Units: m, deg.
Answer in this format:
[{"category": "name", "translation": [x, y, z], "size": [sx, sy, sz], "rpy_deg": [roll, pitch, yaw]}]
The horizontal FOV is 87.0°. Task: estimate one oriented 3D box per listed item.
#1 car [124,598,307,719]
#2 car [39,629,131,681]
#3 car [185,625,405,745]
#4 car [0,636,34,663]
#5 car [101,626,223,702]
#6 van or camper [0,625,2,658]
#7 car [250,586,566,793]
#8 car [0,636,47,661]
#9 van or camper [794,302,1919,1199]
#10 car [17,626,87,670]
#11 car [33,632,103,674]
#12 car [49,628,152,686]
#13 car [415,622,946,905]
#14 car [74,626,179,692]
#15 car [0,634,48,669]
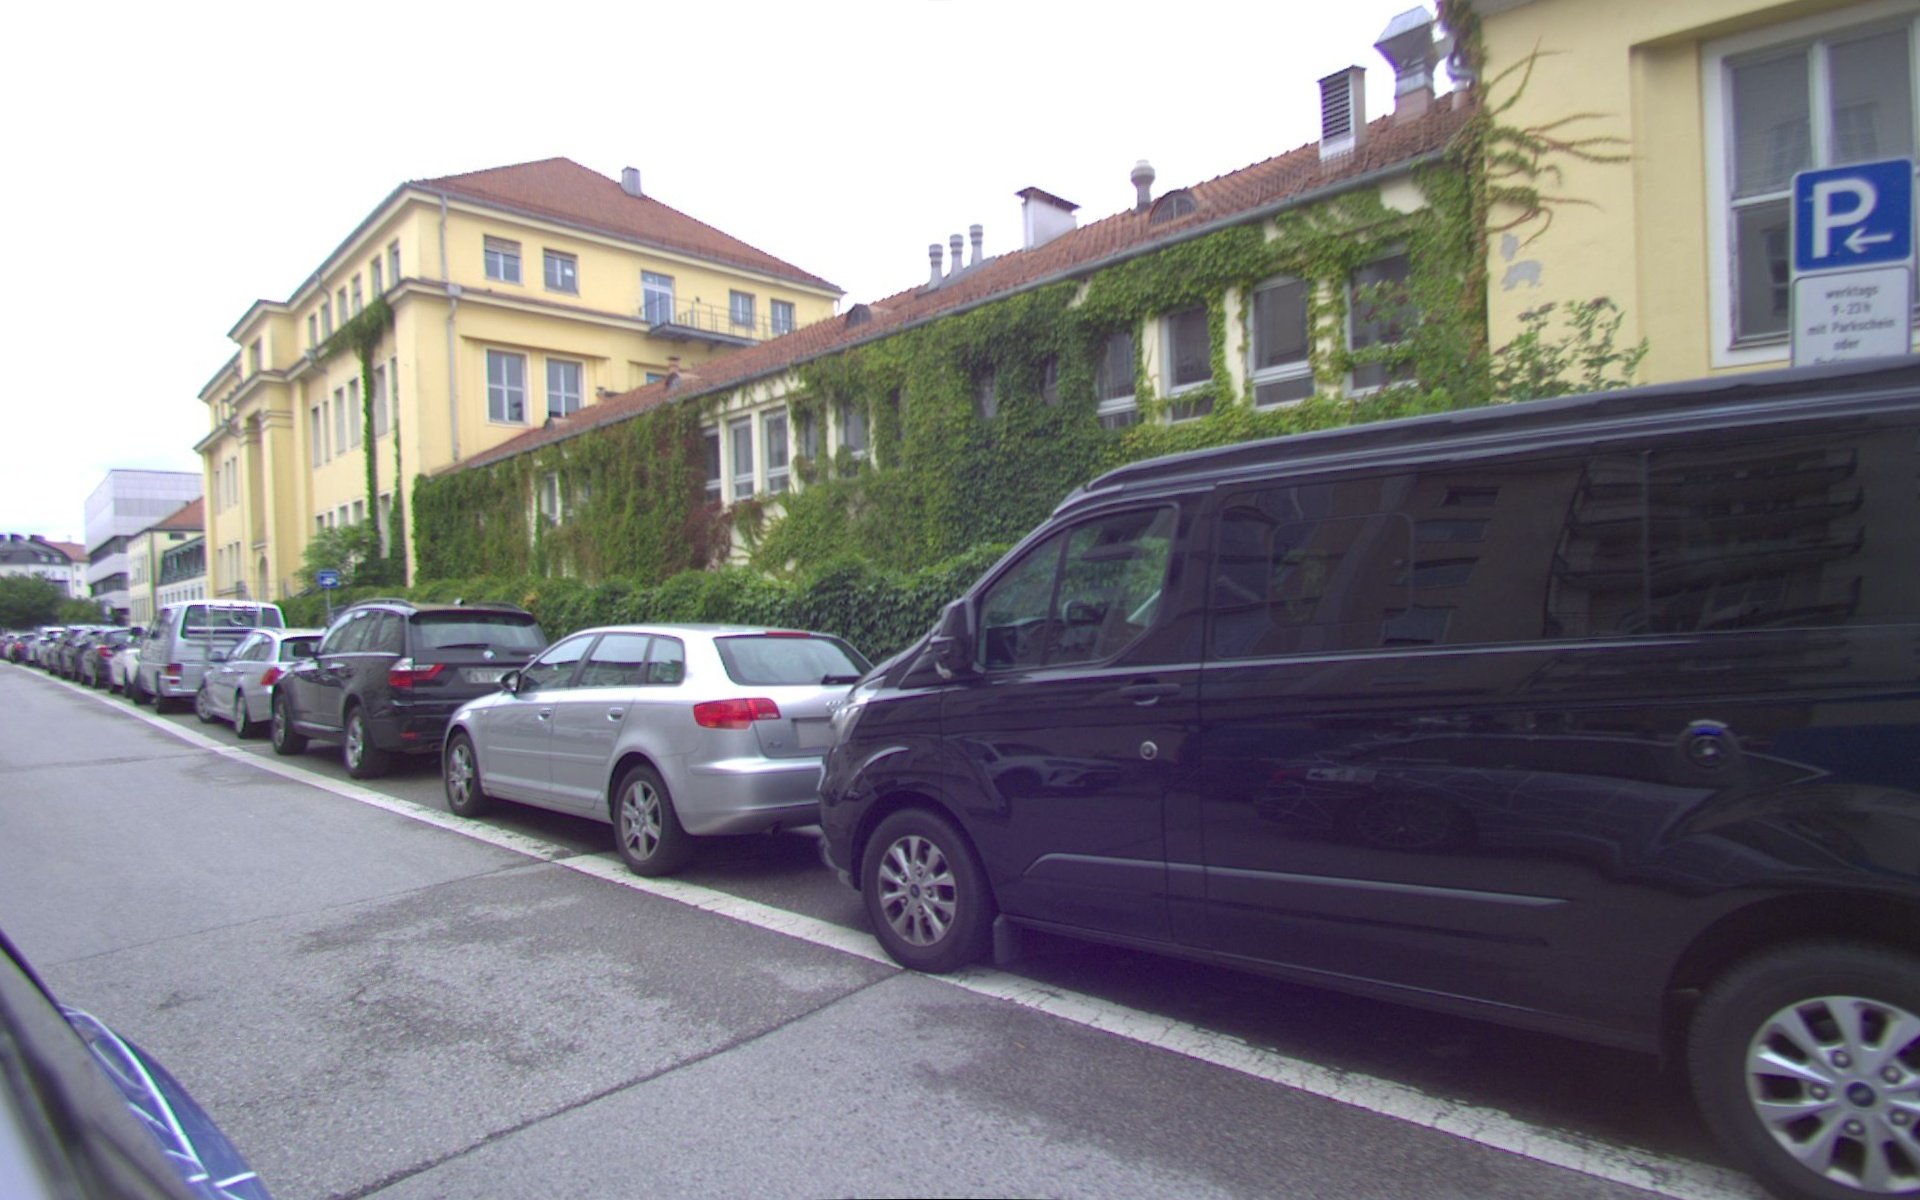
[{"category": "car", "translation": [-13.524, 0.995, 18.266], "size": [1.970, 1.890, 4.761], "rpy_deg": [2, -3, -44]}, {"category": "car", "translation": [-28.409, 1.770, 32.820], "size": [4.195, 1.550, 1.762], "rpy_deg": [-2, -4, 43]}, {"category": "car", "translation": [-9.509, 1.102, 14.312], "size": [4.426, 1.433, 1.682], "rpy_deg": [-2, -4, 45]}, {"category": "car", "translation": [-58.190, 3.044, 62.078], "size": [3.996, 1.578, 1.656], "rpy_deg": [-3, -4, 42]}, {"category": "car", "translation": [-17.387, 1.340, 21.993], "size": [3.731, 1.504, 1.561], "rpy_deg": [-2, -3, 44]}, {"category": "van or camper", "translation": [-84.313, 3.613, 86.955], "size": [5.564, 2.829, 2.115], "rpy_deg": [-2, -2, 37]}, {"category": "car", "translation": [-5.968, 0.841, 10.677], "size": [4.425, 1.743, 1.601], "rpy_deg": [-2, -4, 44]}, {"category": "car", "translation": [-53.839, 2.803, 58.163], "size": [3.996, 1.409, 1.656], "rpy_deg": [-3, -4, 42]}, {"category": "van or camper", "translation": [1.728, 0.448, 3.687], "size": [4.747, 2.081, 1.941], "rpy_deg": [-2, -3, 39]}, {"category": "car", "translation": [-37.951, 1.979, 42.252], "size": [4.355, 1.646, 1.662], "rpy_deg": [-2, 0, 42]}, {"category": "car", "translation": [-33.968, 1.971, 38.492], "size": [3.895, 1.436, 1.661], "rpy_deg": [-1, 1, 44]}, {"category": "car", "translation": [-24.741, 1.599, 29.094], "size": [4.149, 1.550, 1.762], "rpy_deg": [-2, -3, 43]}, {"category": "car", "translation": [-2.125, 0.878, 6.975], "size": [4.071, 1.388, 1.602], "rpy_deg": [-2, -4, 43]}, {"category": "car", "translation": [-20.965, 1.427, 25.404], "size": [3.905, 1.466, 1.561], "rpy_deg": [-2, 0, 44]}, {"category": "car", "translation": [-45.329, 2.449, 48.871], "size": [3.987, 1.507, 1.661], "rpy_deg": [-2, 0, 44]}]
